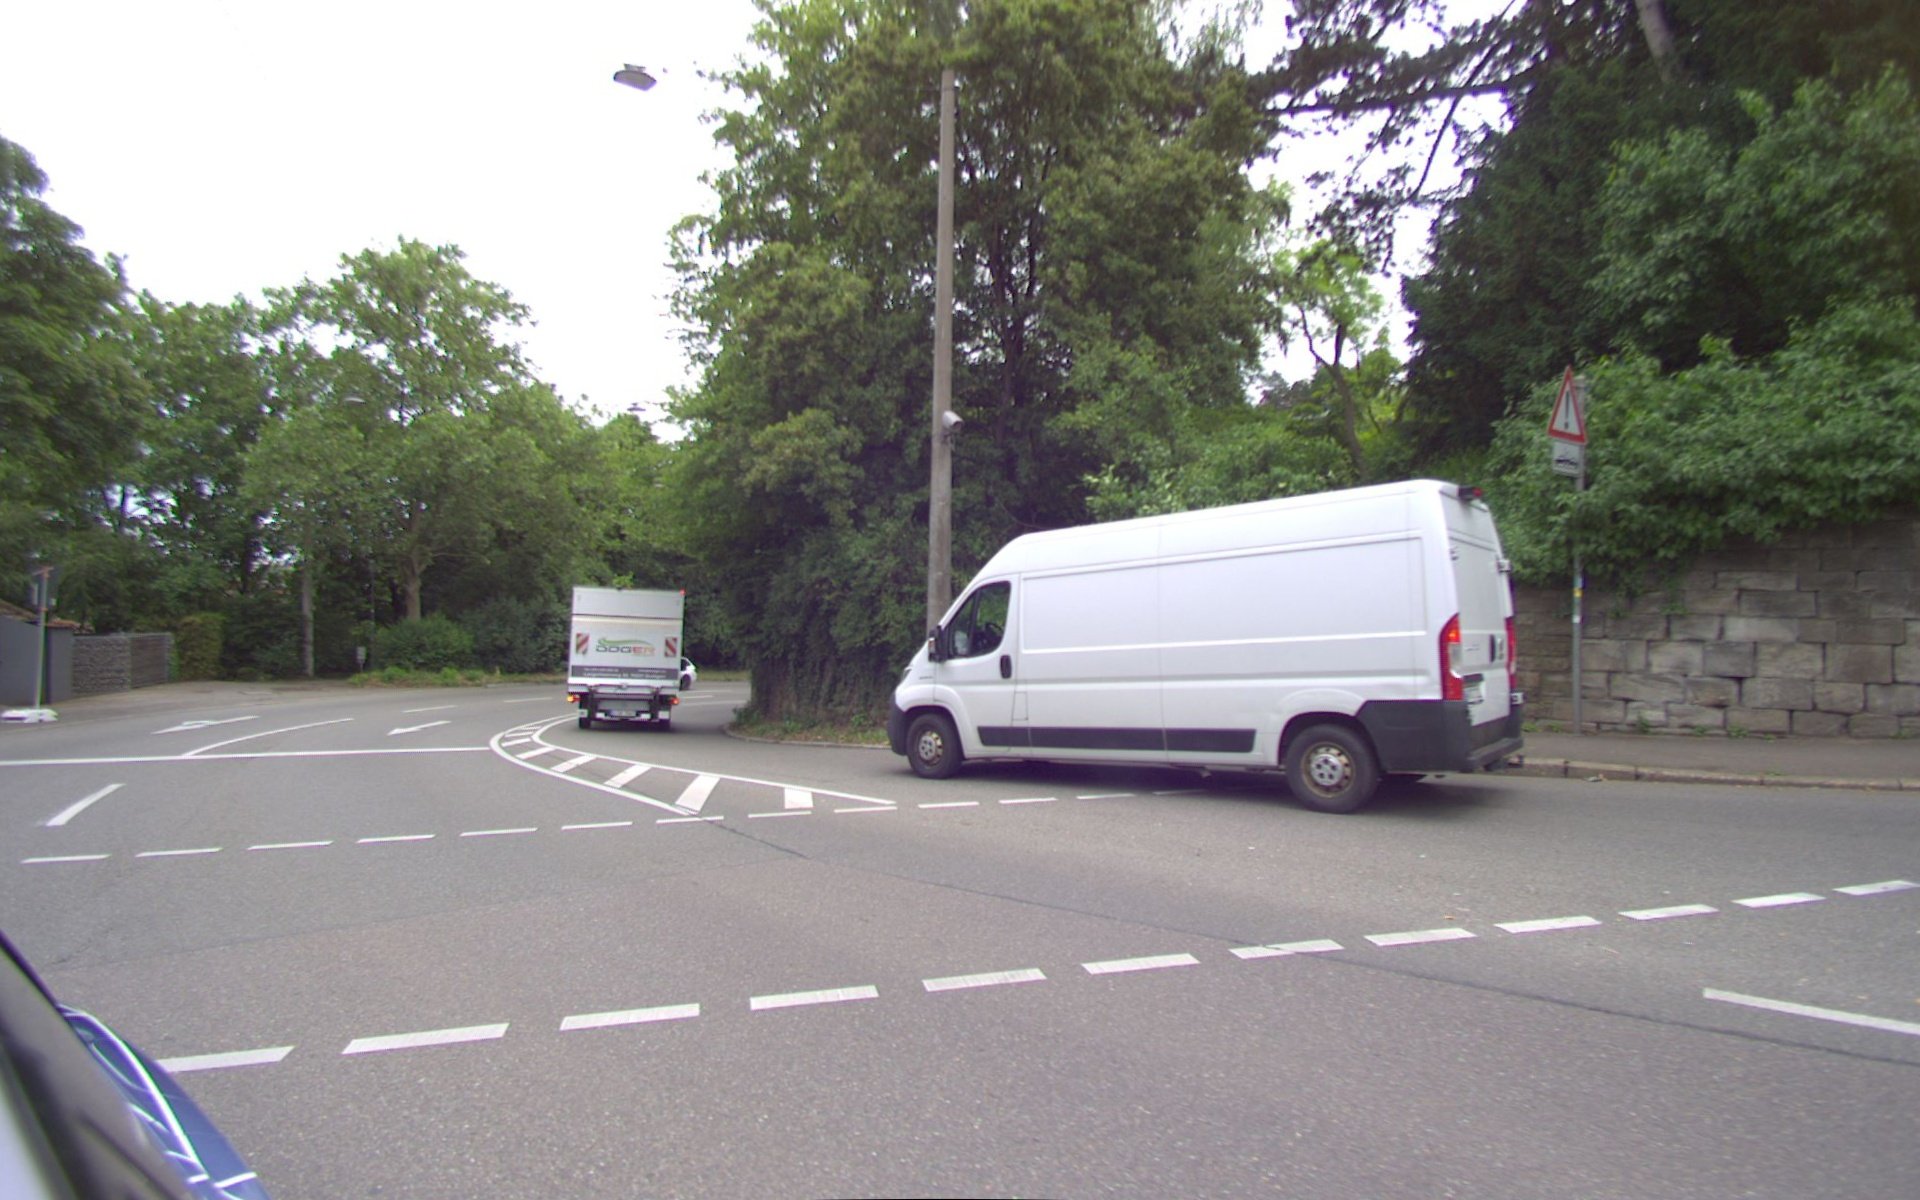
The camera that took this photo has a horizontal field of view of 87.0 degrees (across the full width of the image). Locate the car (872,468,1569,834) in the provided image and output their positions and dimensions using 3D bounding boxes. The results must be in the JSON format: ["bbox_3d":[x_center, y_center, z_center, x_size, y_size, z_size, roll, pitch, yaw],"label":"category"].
[{"bbox_3d":[2.024,0.484,9.355,5.889,2.431,1.974,-4,-3,39],"label":"car"}]

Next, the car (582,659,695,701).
[{"bbox_3d":[-13.447,3.368,42.639,1.908,1.563,4.485,2,-3,27],"label":"car"}]

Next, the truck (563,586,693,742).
[{"bbox_3d":[-7.853,1.587,24.210,2.369,3.112,6.362,4,-6,-17],"label":"truck"}]
